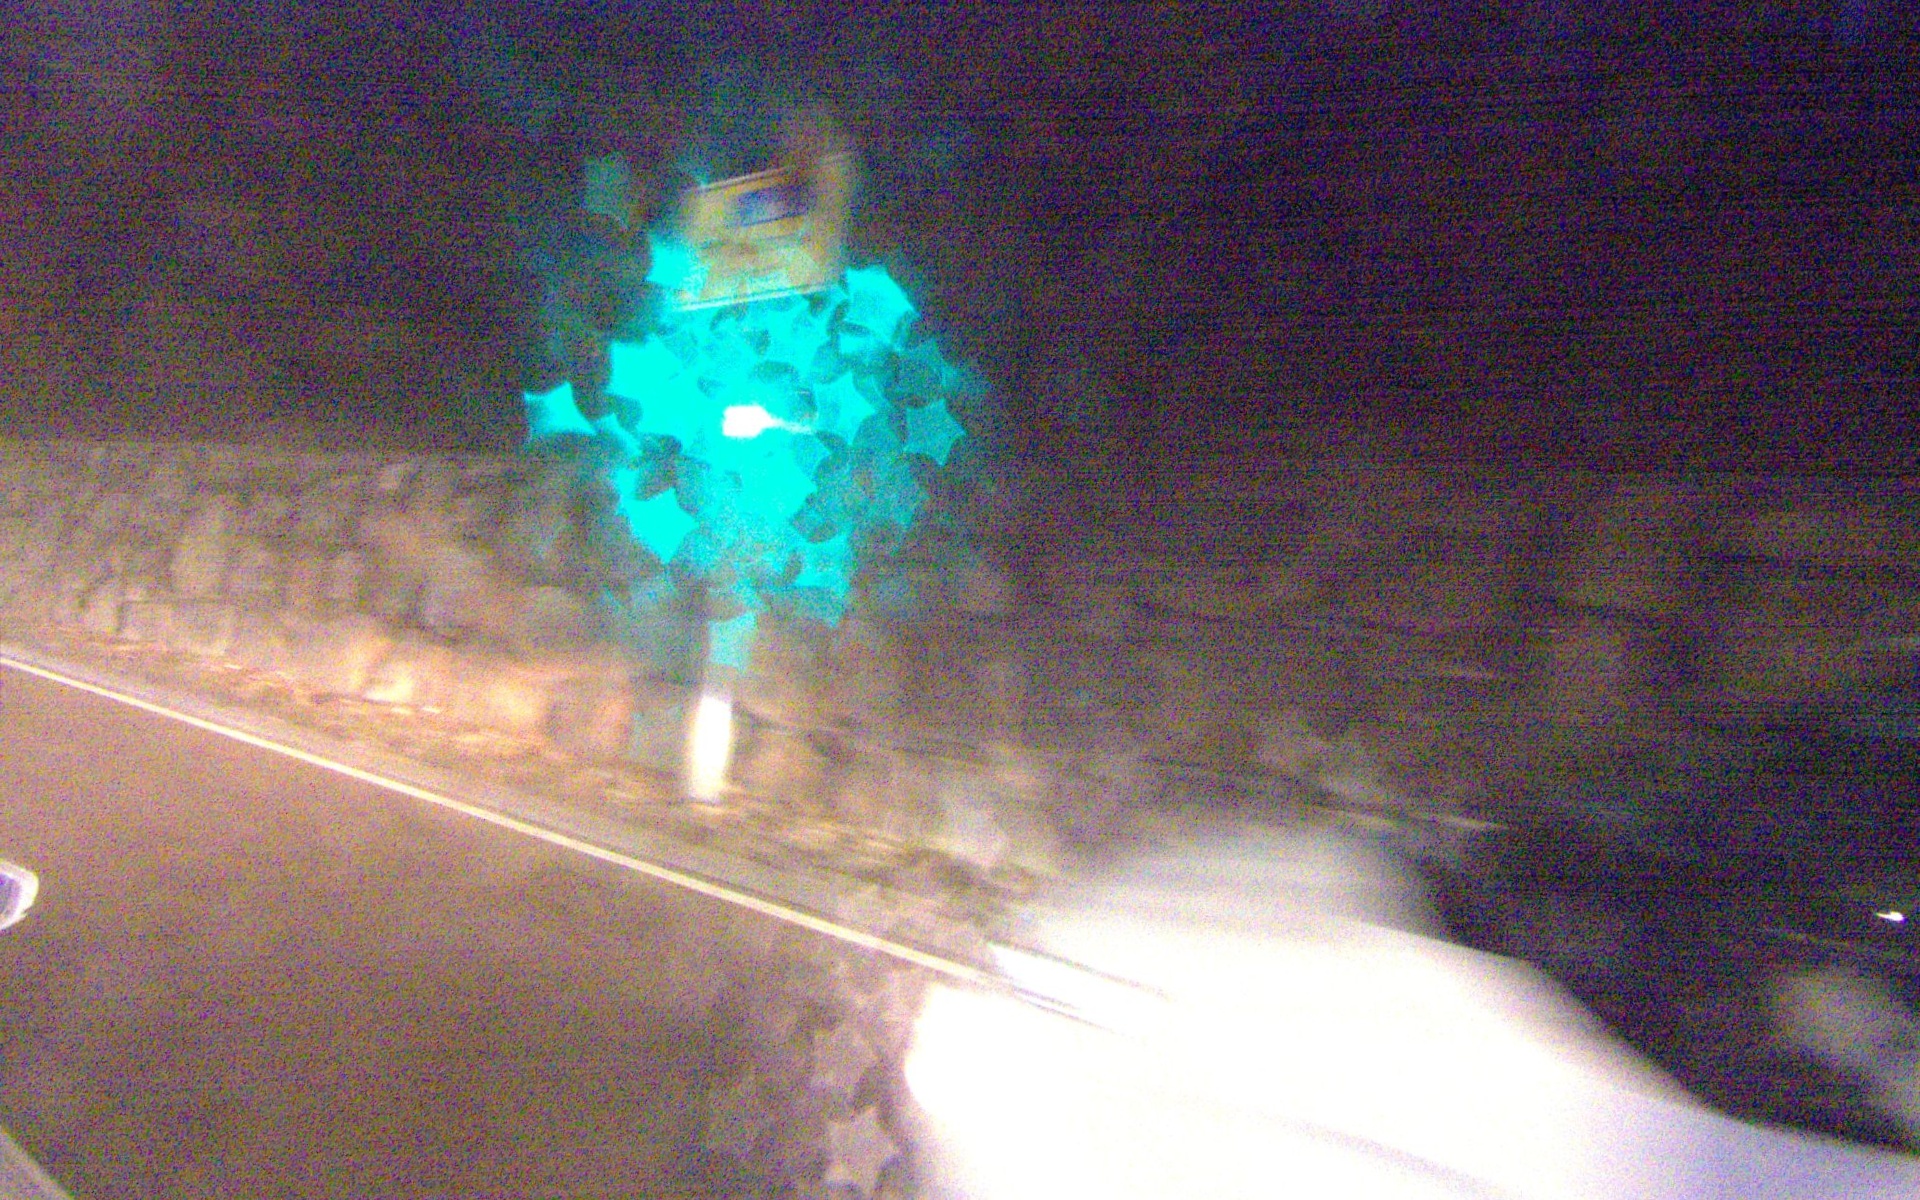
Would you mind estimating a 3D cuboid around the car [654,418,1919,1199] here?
[{"bbox_3d":[2.050,0.786,1.363,4.807,1.606,1.878,6,-3,30],"label":"car"}]
